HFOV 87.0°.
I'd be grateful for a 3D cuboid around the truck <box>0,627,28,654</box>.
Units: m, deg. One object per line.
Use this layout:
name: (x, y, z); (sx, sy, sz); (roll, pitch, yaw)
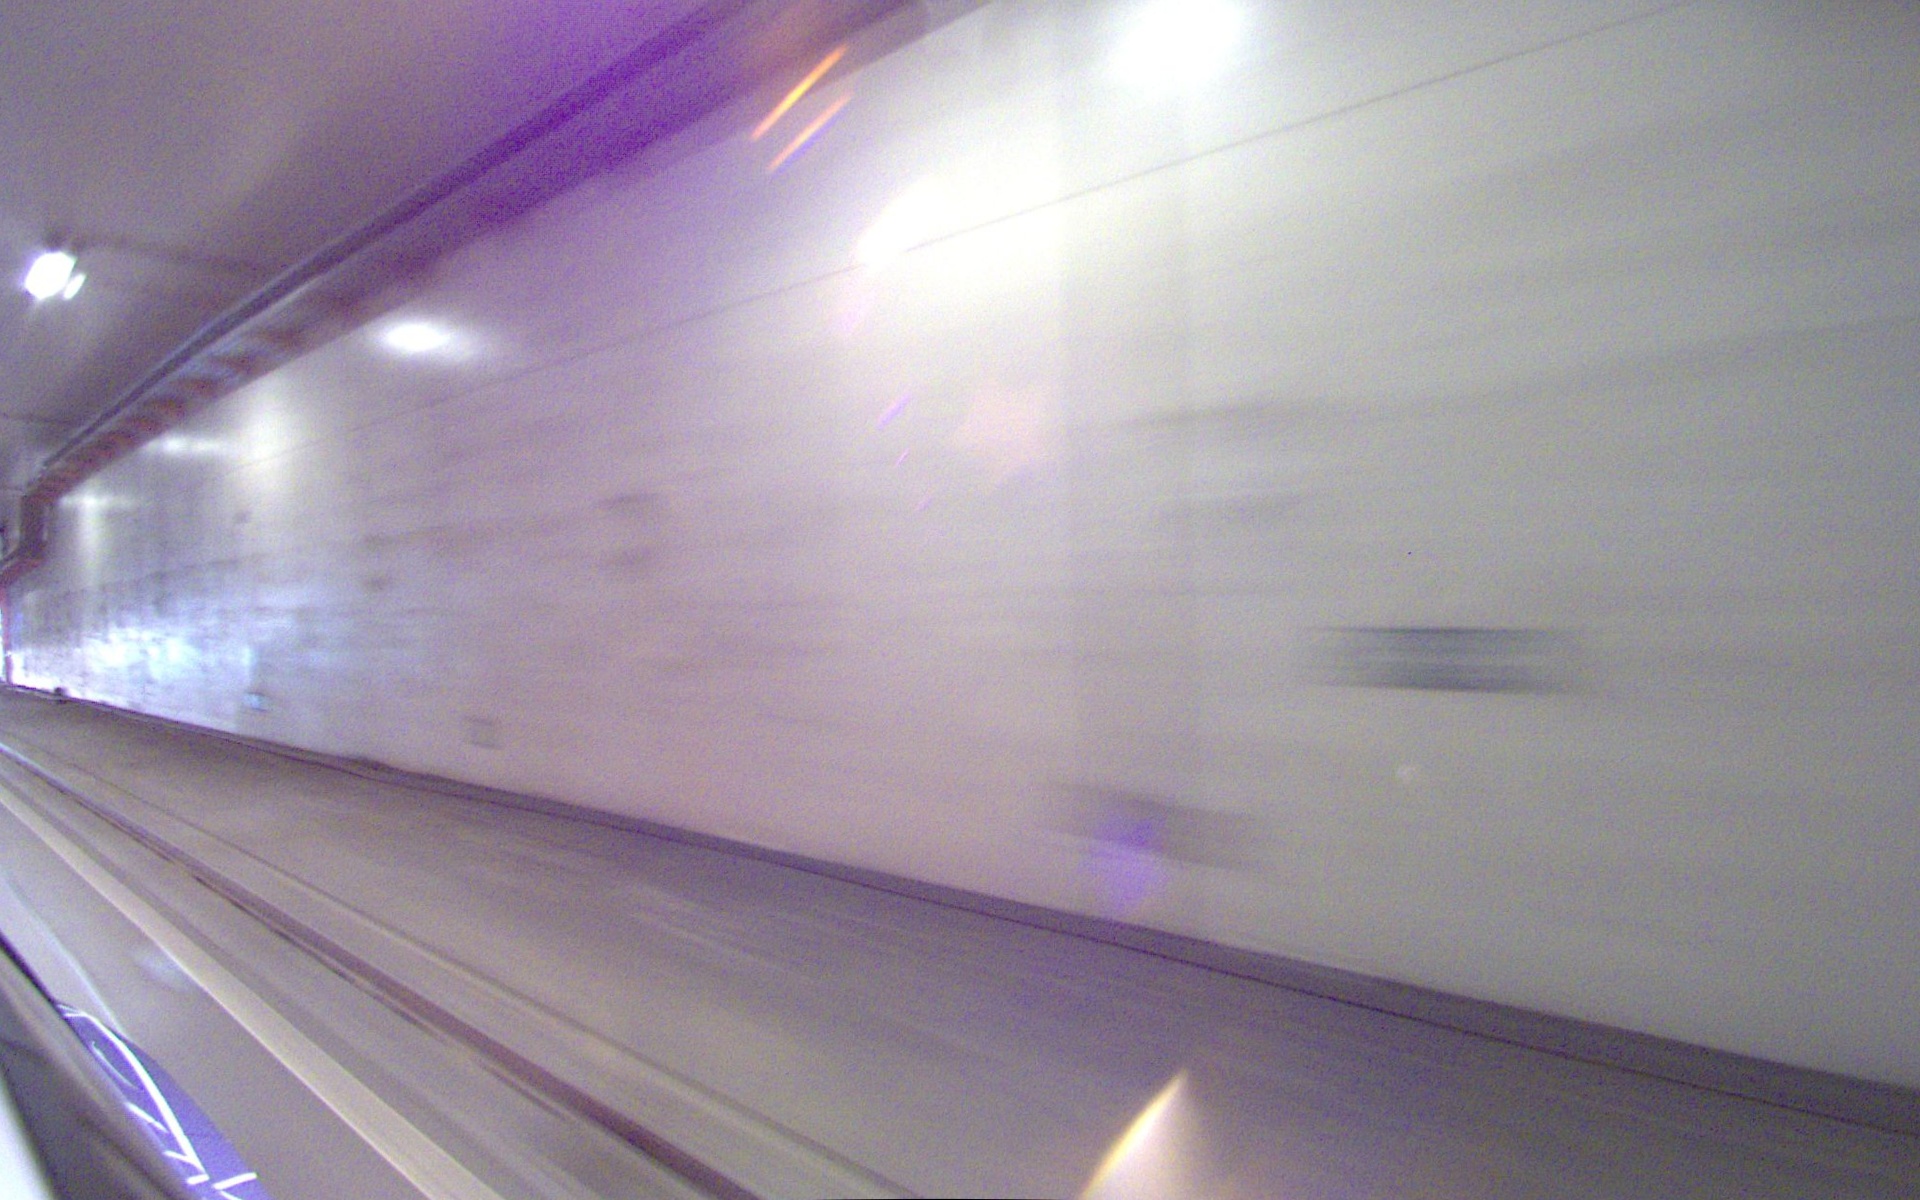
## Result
truck: (-109.679, 4.678, 117.086); (2.106, 2.748, 5.684); (-4, 3, -37)
